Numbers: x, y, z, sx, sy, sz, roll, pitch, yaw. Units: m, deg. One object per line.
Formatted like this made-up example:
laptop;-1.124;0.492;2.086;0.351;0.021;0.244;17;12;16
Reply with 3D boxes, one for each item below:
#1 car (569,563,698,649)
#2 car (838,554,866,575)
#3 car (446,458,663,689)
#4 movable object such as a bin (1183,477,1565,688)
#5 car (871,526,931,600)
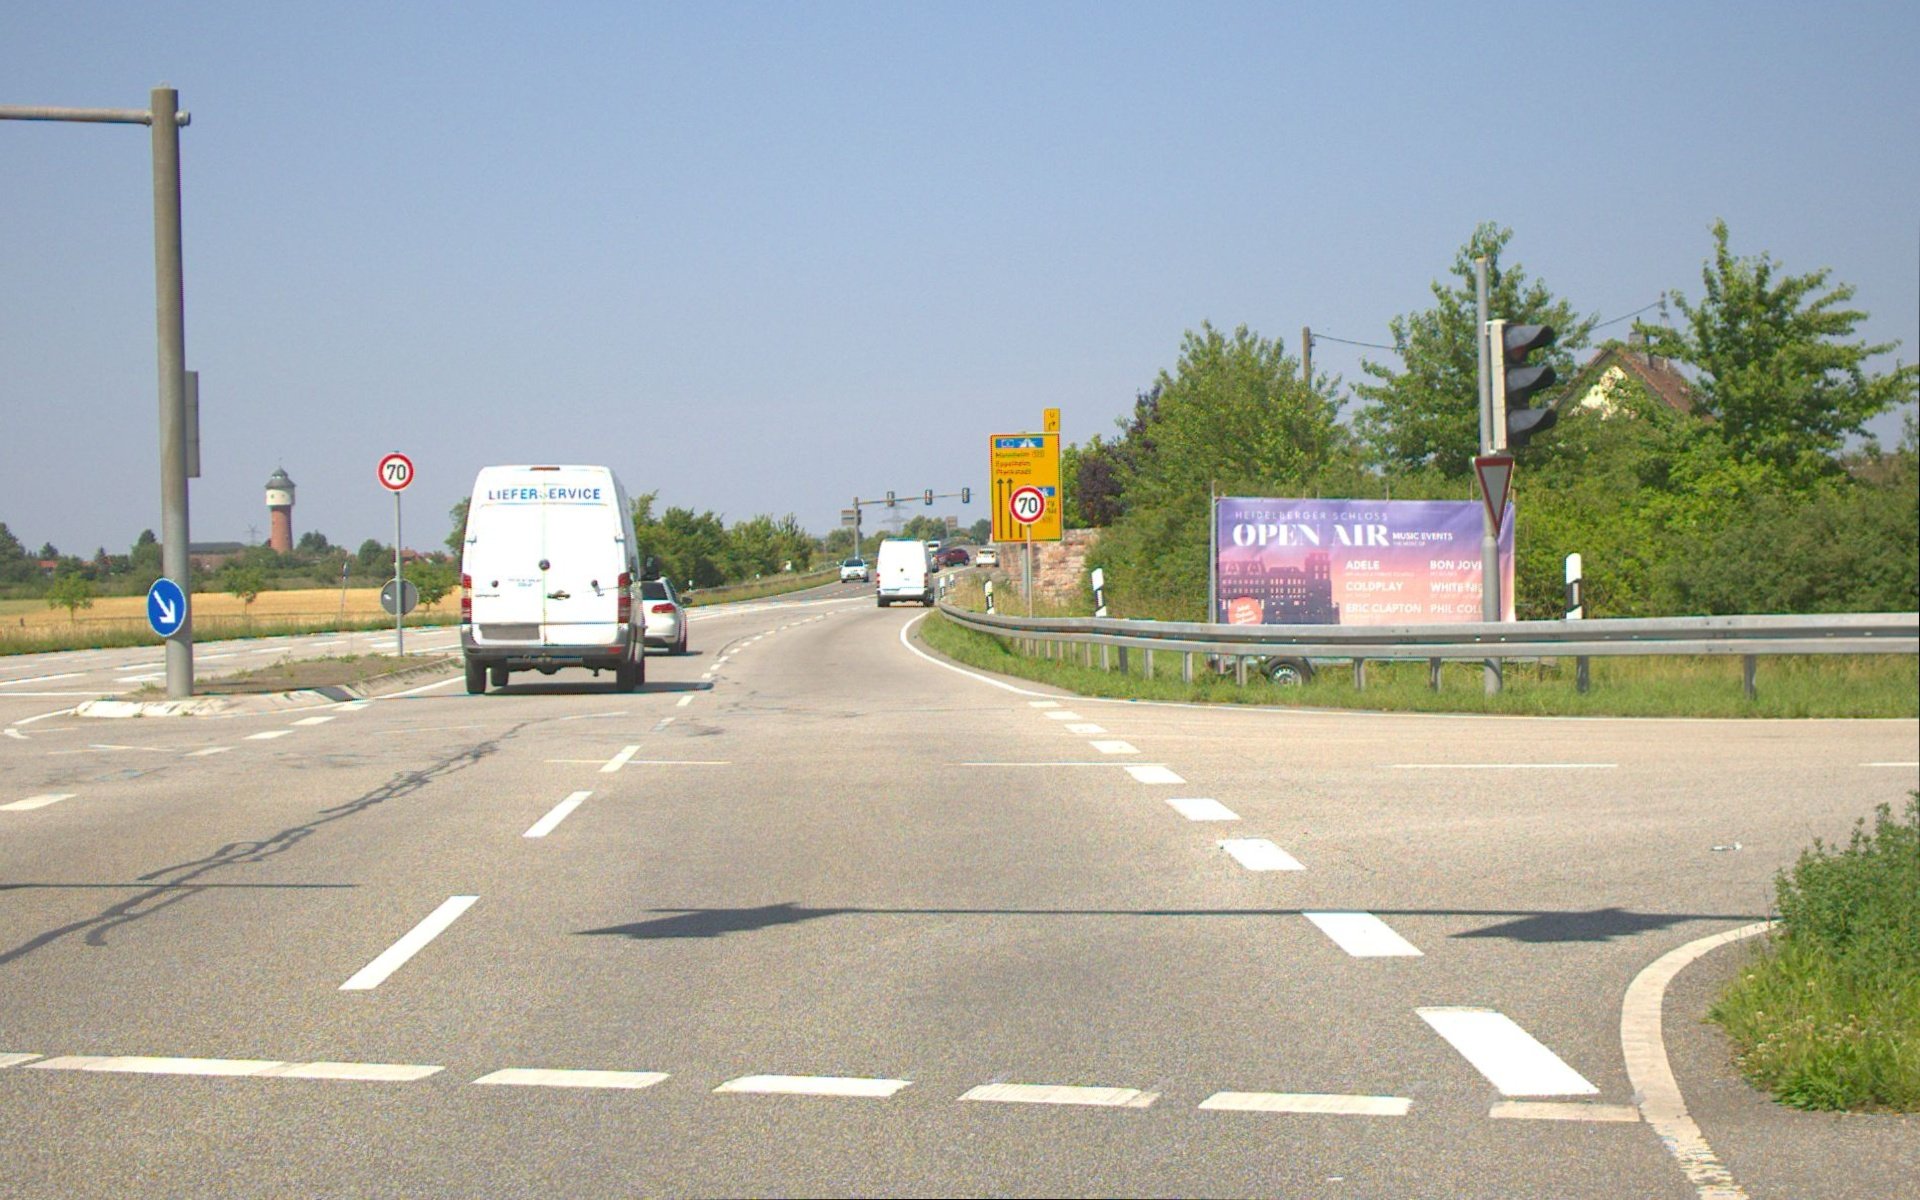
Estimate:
car;-6.027;0.087;63.905;1.799;1.503;4.196;-1;1;3
car;-7.790;-2.565;248.201;1.749;1.437;4.081;-2;1;2
car;-4.835;-0.310;41.757;2.039;2.611;5.741;0;0;-1
movable object such as a bin;4.639;-0.188;38.728;4.093;2.323;1.278;0;0;-5
car;-2.232;-1.384;131.055;1.994;2.686;4.969;0;-1;3
